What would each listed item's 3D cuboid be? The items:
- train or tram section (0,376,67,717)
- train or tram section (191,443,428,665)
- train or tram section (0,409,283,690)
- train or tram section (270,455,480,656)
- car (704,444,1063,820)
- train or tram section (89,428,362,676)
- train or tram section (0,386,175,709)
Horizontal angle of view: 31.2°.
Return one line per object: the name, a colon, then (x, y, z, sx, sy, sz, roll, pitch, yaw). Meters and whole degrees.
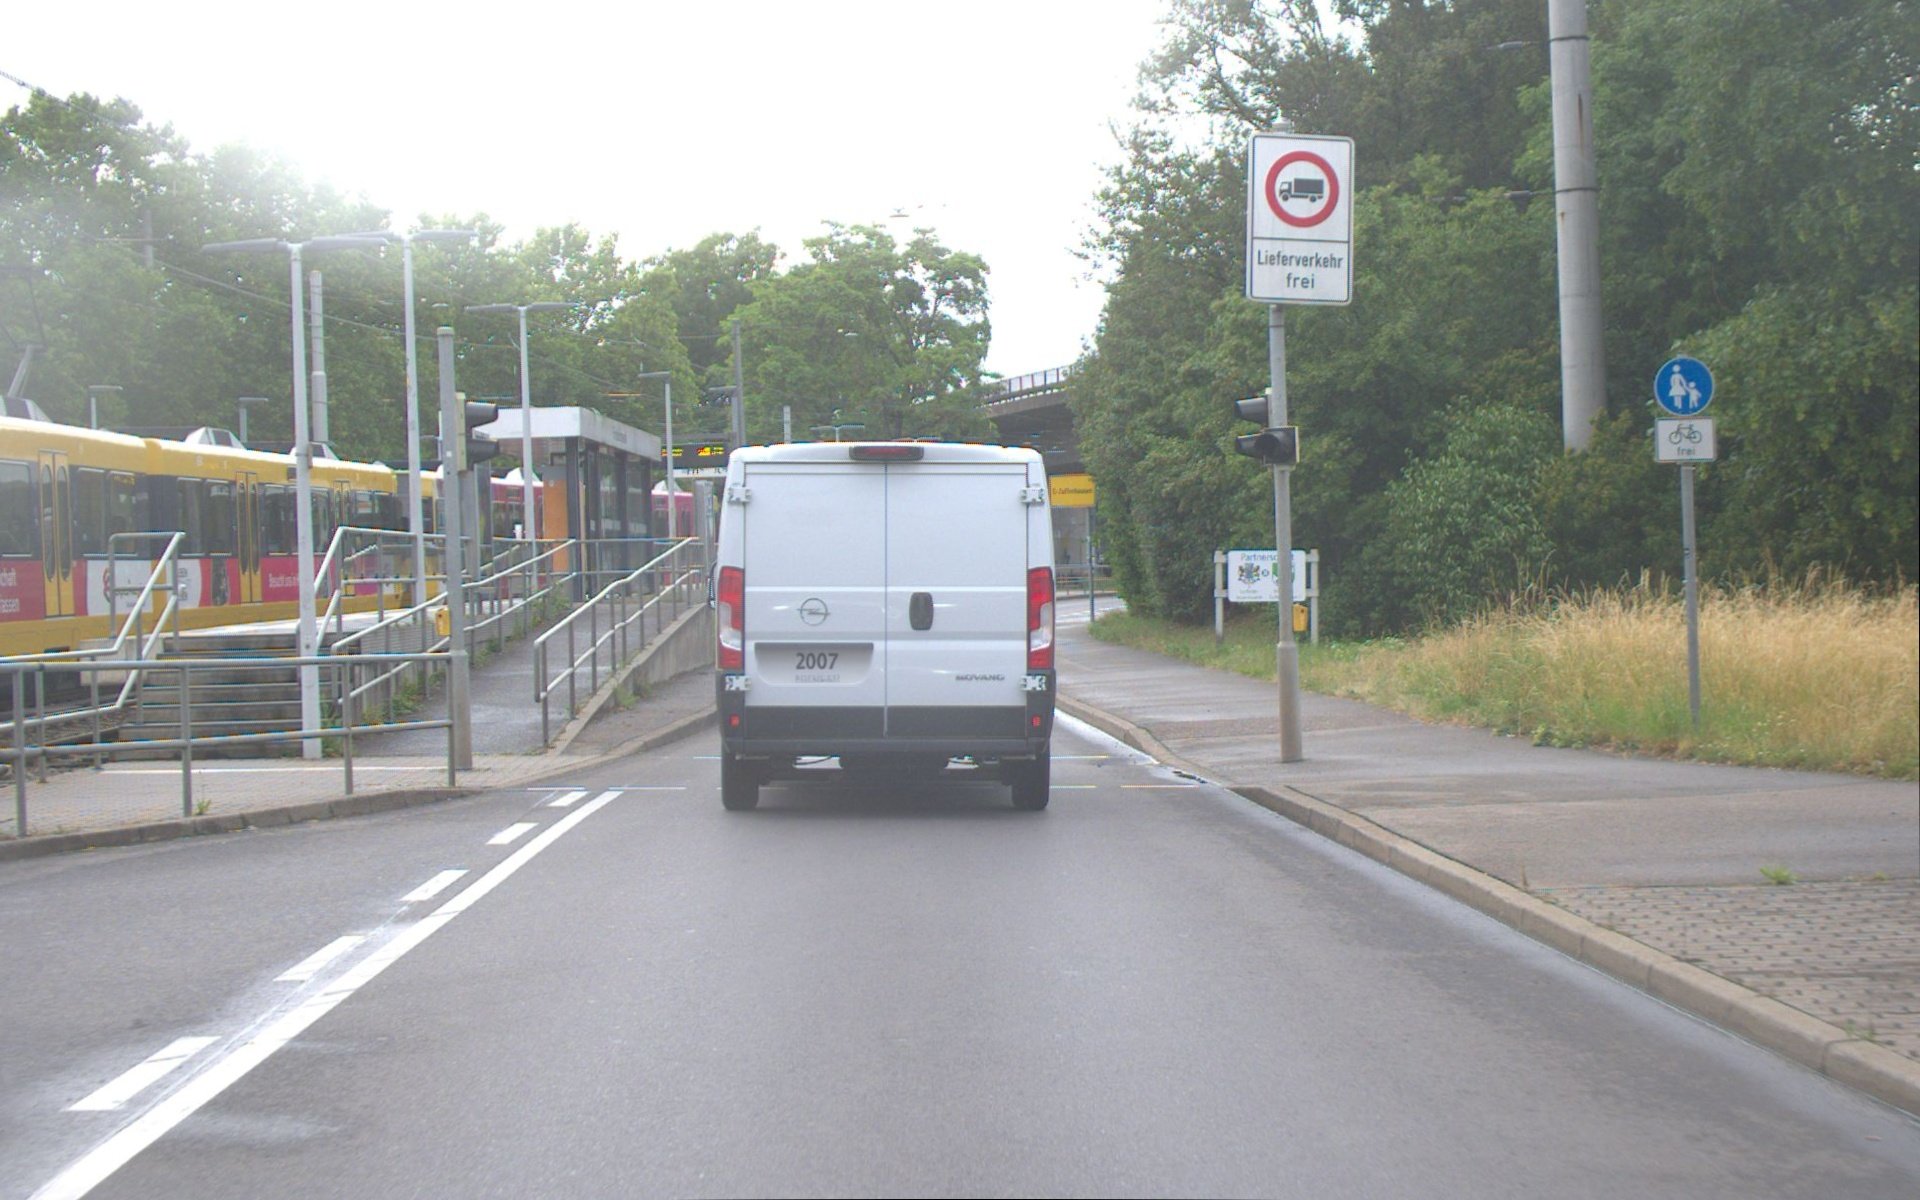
train or tram section: (-12.489, -0.628, 39.015, 2.928, 3.919, 7.006, 1, 0, -1)
train or tram section: (-12.162, -0.859, 64.915, 2.928, 3.919, 7.005, 1, 0, 1)
train or tram section: (-12.482, -0.745, 51.875, 2.928, 3.919, 7.005, 1, 0, 1)
train or tram section: (-12.009, -0.914, 71.185, 2.928, 3.919, 7.005, 1, 0, 1)
car: (-0.560, 0.146, 22.629, 2.090, 2.189, 5.062, 0, 1, -3)
train or tram section: (-12.325, -0.802, 58.367, 2.928, 3.919, 7.005, 1, 0, 1)
train or tram section: (-12.580, -0.687, 45.261, 2.928, 3.919, 7.006, 1, 0, -1)
